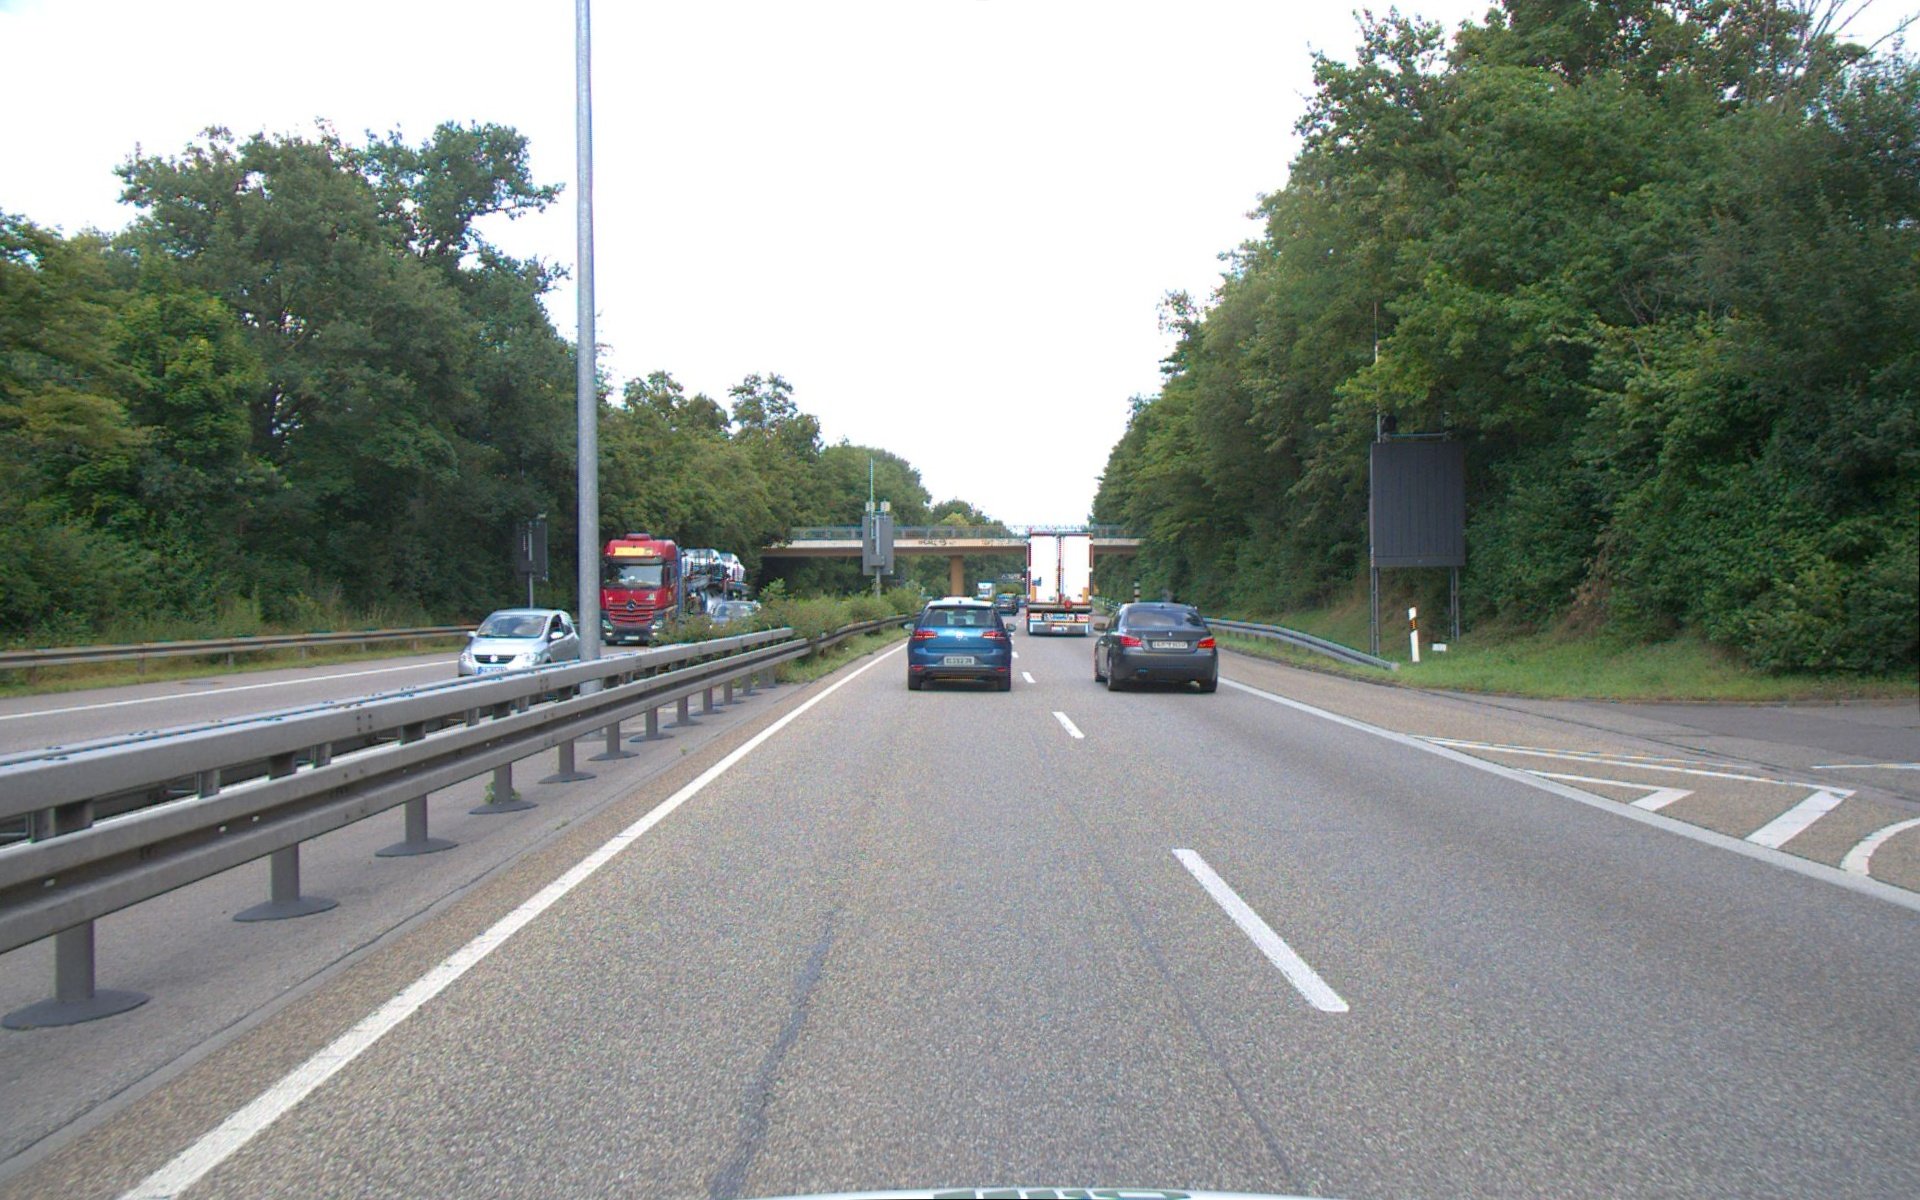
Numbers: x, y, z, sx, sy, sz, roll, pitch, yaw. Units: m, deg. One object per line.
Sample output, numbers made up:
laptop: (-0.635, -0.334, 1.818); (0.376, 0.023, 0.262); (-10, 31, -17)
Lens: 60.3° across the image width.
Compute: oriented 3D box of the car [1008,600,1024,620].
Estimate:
car: (6.640, 1.177, 196.134); (1.952, 2.368, 4.443); (-1, 0, 2)

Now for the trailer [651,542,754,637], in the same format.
trailer: (-11.366, -0.448, 74.061); (2.877, 3.900, 10.310); (-2, 0, 0)

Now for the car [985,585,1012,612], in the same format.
car: (2.970, -0.105, 127.905); (1.913, 2.049, 4.002); (-1, 0, 3)

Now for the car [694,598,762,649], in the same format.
car: (-7.553, 0.733, 54.154); (1.639, 1.578, 4.263); (-1, 0, 0)

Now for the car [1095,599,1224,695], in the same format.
car: (3.359, 0.744, 28.703); (1.737, 1.501, 4.881); (1, 0, 1)

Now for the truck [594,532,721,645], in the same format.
truck: (-11.466, -0.409, 63.798); (2.894, 3.923, 10.323); (-2, 0, 0)

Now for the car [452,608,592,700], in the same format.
car: (-8.354, 0.987, 31.879); (1.671, 1.596, 4.031); (-1, 0, -1)

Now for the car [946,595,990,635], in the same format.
car: (0.348, 0.570, 65.809); (1.631, 1.526, 4.153); (0, 0, 2)

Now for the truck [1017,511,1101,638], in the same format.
truck: (4.025, -1.019, 68.930); (3.174, 4.798, 11.010); (-1, 0, 2)

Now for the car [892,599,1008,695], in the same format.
car: (-0.101, 0.751, 28.262); (1.669, 1.495, 4.002); (1, 0, 4)
